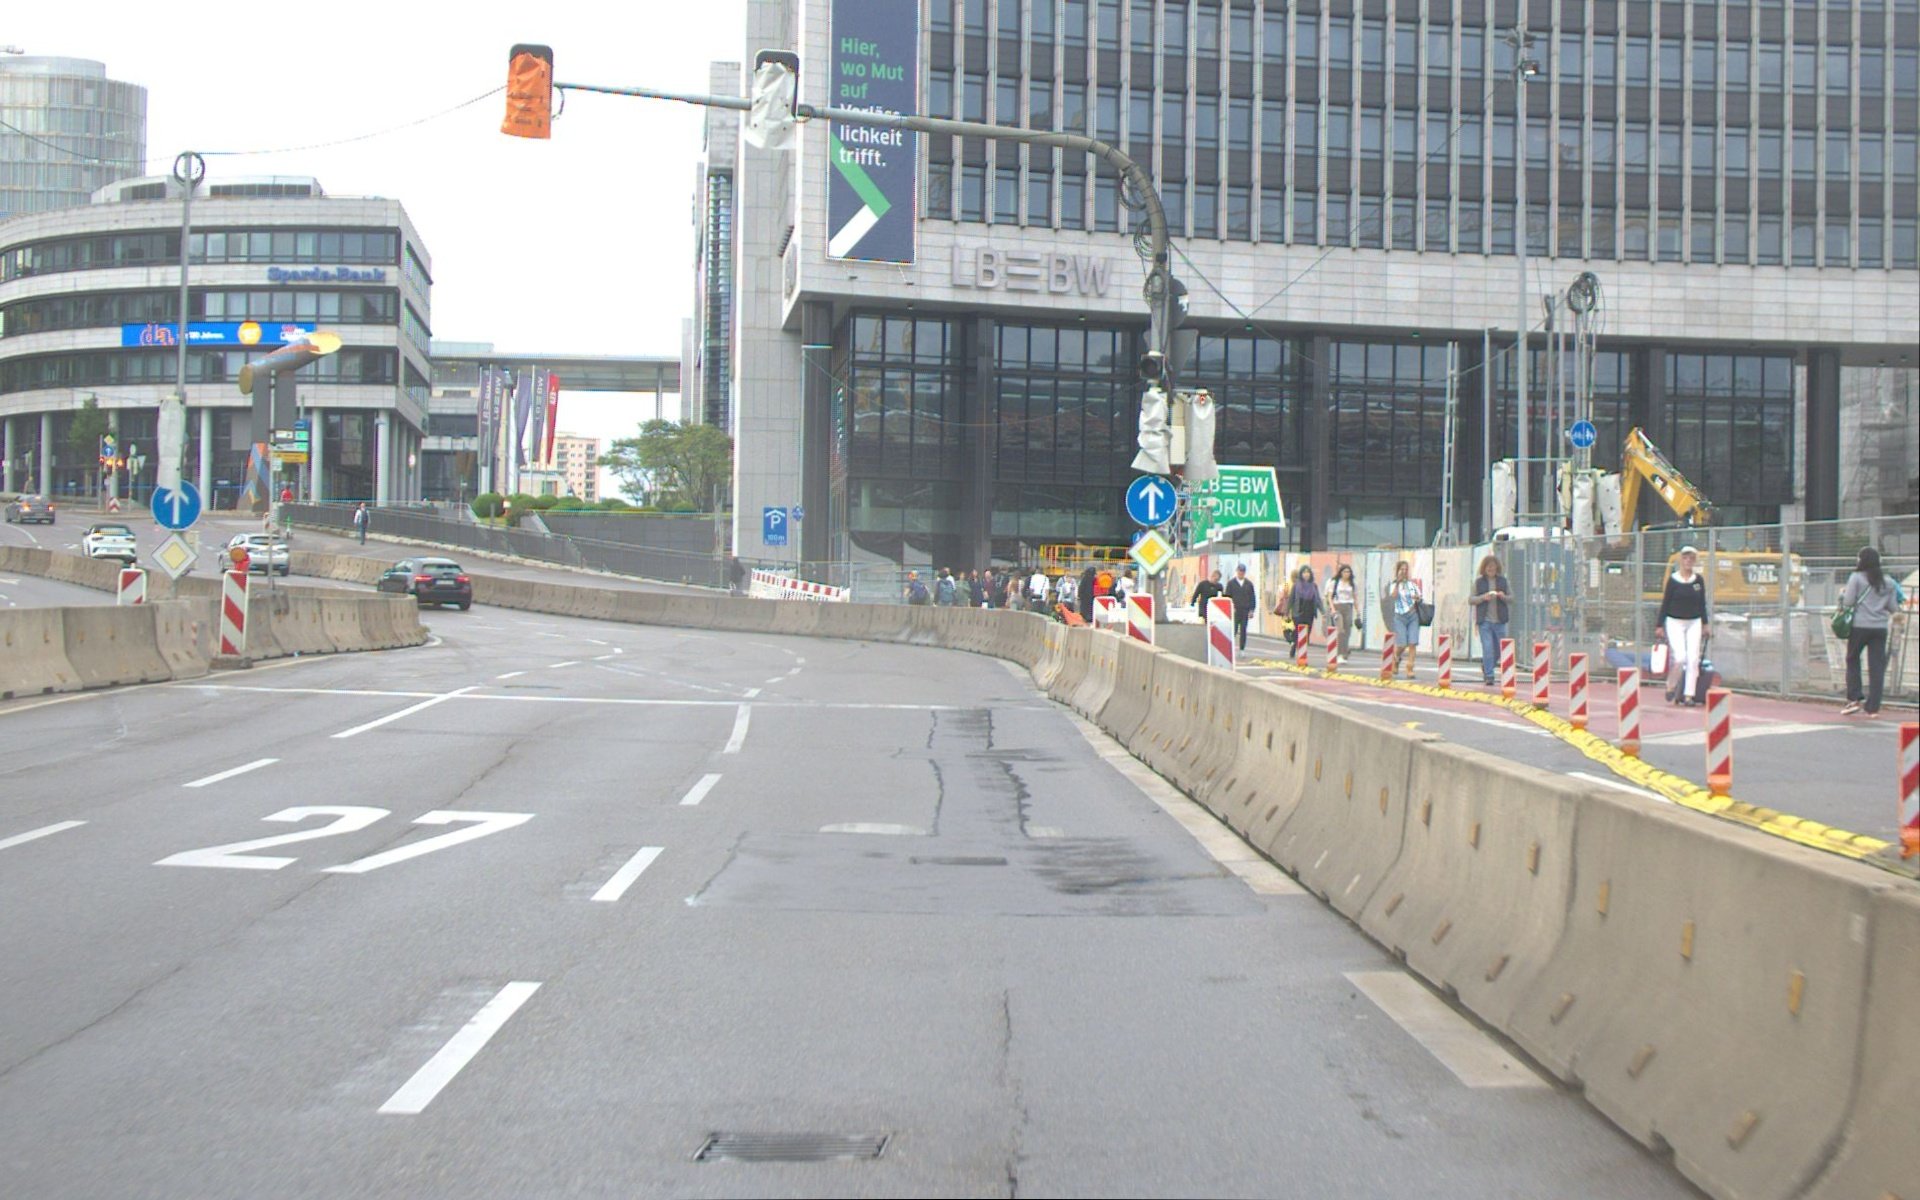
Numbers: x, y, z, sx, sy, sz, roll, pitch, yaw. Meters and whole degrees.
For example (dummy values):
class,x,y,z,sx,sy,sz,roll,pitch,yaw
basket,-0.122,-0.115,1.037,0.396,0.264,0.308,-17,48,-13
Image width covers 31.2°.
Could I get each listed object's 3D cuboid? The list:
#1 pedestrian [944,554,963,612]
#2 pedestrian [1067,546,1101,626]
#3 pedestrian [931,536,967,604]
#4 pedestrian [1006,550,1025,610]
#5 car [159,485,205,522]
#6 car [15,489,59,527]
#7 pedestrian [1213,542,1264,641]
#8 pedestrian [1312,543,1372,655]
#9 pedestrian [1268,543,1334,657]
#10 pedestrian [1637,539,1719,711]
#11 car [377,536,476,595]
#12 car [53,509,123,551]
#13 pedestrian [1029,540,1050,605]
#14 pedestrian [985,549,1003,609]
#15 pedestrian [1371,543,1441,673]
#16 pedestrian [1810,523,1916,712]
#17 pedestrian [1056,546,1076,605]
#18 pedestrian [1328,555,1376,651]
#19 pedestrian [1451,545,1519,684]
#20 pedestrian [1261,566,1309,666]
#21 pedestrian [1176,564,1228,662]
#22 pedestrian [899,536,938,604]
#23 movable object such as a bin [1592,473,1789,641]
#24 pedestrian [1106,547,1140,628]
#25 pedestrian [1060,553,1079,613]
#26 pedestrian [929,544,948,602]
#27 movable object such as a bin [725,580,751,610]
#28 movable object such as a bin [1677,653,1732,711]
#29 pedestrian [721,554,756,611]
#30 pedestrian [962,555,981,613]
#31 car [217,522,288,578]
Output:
class,x,y,z,sx,sy,sz,roll,pitch,yaw
pedestrian,-0.185,-0.510,102.382,0.453,1.699,0.647,1,1,-7
pedestrian,3.133,-0.363,87.041,0.784,2.007,0.863,1,1,5
pedestrian,-0.266,-0.739,83.754,0.658,1.636,0.824,1,1,-14
pedestrian,1.596,-0.570,98.950,0.448,1.699,0.646,1,1,7
car,-39.134,-4.880,172.930,1.993,1.798,4.267,1,1,-16
car,-45.284,-4.518,168.596,1.993,1.798,4.267,1,1,-16
pedestrian,5.260,-0.169,64.994,0.779,1.855,0.812,1,1,-6
pedestrian,6.446,-0.026,58.056,0.779,1.855,1.058,1,1,-6
pedestrian,5.614,-0.010,56.680,0.869,1.855,0.949,1,1,-6
pedestrian,7.868,0.262,37.675,0.664,1.855,0.683,1,1,-6
car,-14.871,-0.949,95.770,1.674,1.503,3.746,2,-2,-26
car,-33.074,-2.654,130.353,1.741,1.501,3.754,1,1,-27
pedestrian,2.216,-0.768,95.820,0.529,1.812,0.536,1,1,-2
pedestrian,0.983,-0.611,99.290,0.448,1.699,0.647,1,1,3
pedestrian,6.466,0.106,49.885,0.779,1.855,0.949,1,1,-6
pedestrian,8.994,0.170,34.269,0.786,1.855,0.683,1,1,-6
pedestrian,3.112,-0.727,100.876,0.500,1.699,0.733,1,1,-3
pedestrian,7.601,0.054,66.680,0.779,1.855,0.812,0,1,-6
pedestrian,7.081,0.189,46.400,0.689,1.855,0.812,1,1,-6
pedestrian,6.093,0.286,64.401,0.732,1.848,0.831,1,0,-4
pedestrian,4.520,0.238,64.242,0.819,1.821,1.111,0,0,-4
pedestrian,-1.002,-0.733,83.565,0.750,1.636,0.824,1,1,-14
movable object such as a bin,18.029,-1.053,85.020,3.086,4.016,3.698,1,0,-25
pedestrian,4.112,-0.320,86.939,0.784,2.007,0.863,1,1,5
pedestrian,3.146,-0.501,98.626,0.448,1.699,0.647,1,1,-3
pedestrian,-0.643,-0.814,102.337,0.448,1.699,0.647,1,1,-7
movable object such as a bin,-7.009,-0.159,108.559,0.598,0.930,0.742,1,0,-23
movable object such as a bin,8.225,0.904,37.999,0.433,0.622,0.535,1,1,-6
pedestrian,-7.024,-0.550,108.971,0.756,1.784,1.057,1,0,-23
pedestrian,0.340,-0.484,102.441,0.448,1.699,0.647,1,1,-7
car,-24.252,-1.725,117.793,1.738,1.869,3.779,1,1,-21
